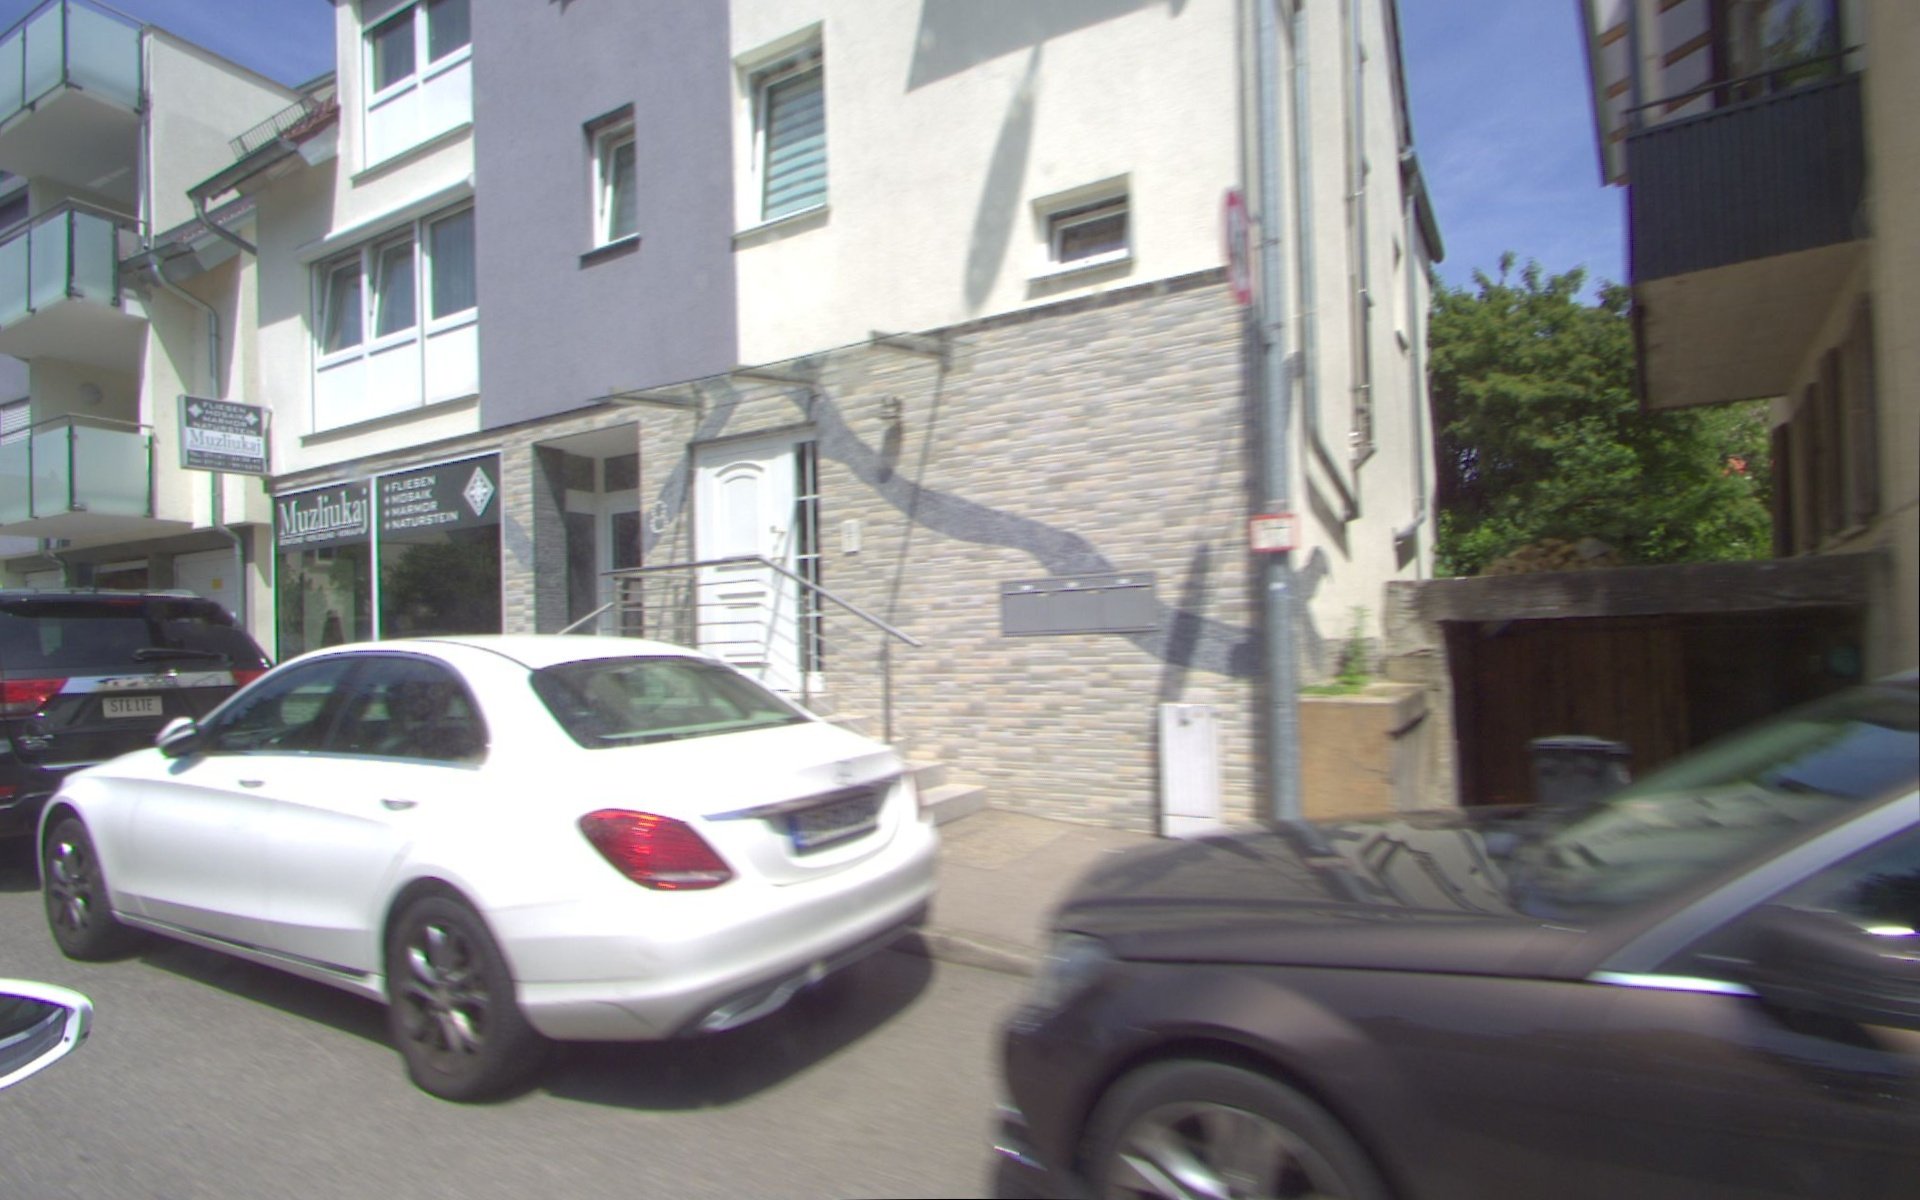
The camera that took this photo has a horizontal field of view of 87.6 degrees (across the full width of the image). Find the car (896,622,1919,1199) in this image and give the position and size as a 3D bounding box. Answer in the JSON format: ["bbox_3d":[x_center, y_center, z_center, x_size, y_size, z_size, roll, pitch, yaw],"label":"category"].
[{"bbox_3d":[2.132,0.766,1.935,4.295,1.439,1.786,-1,-1,32],"label":"car"}]

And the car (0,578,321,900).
[{"bbox_3d":[-6.881,0.784,7.163,4.645,1.738,1.952,-1,-1,29],"label":"car"}]

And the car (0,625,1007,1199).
[{"bbox_3d":[-2.256,0.863,4.498,4.645,1.474,1.787,-1,-1,29],"label":"car"}]
